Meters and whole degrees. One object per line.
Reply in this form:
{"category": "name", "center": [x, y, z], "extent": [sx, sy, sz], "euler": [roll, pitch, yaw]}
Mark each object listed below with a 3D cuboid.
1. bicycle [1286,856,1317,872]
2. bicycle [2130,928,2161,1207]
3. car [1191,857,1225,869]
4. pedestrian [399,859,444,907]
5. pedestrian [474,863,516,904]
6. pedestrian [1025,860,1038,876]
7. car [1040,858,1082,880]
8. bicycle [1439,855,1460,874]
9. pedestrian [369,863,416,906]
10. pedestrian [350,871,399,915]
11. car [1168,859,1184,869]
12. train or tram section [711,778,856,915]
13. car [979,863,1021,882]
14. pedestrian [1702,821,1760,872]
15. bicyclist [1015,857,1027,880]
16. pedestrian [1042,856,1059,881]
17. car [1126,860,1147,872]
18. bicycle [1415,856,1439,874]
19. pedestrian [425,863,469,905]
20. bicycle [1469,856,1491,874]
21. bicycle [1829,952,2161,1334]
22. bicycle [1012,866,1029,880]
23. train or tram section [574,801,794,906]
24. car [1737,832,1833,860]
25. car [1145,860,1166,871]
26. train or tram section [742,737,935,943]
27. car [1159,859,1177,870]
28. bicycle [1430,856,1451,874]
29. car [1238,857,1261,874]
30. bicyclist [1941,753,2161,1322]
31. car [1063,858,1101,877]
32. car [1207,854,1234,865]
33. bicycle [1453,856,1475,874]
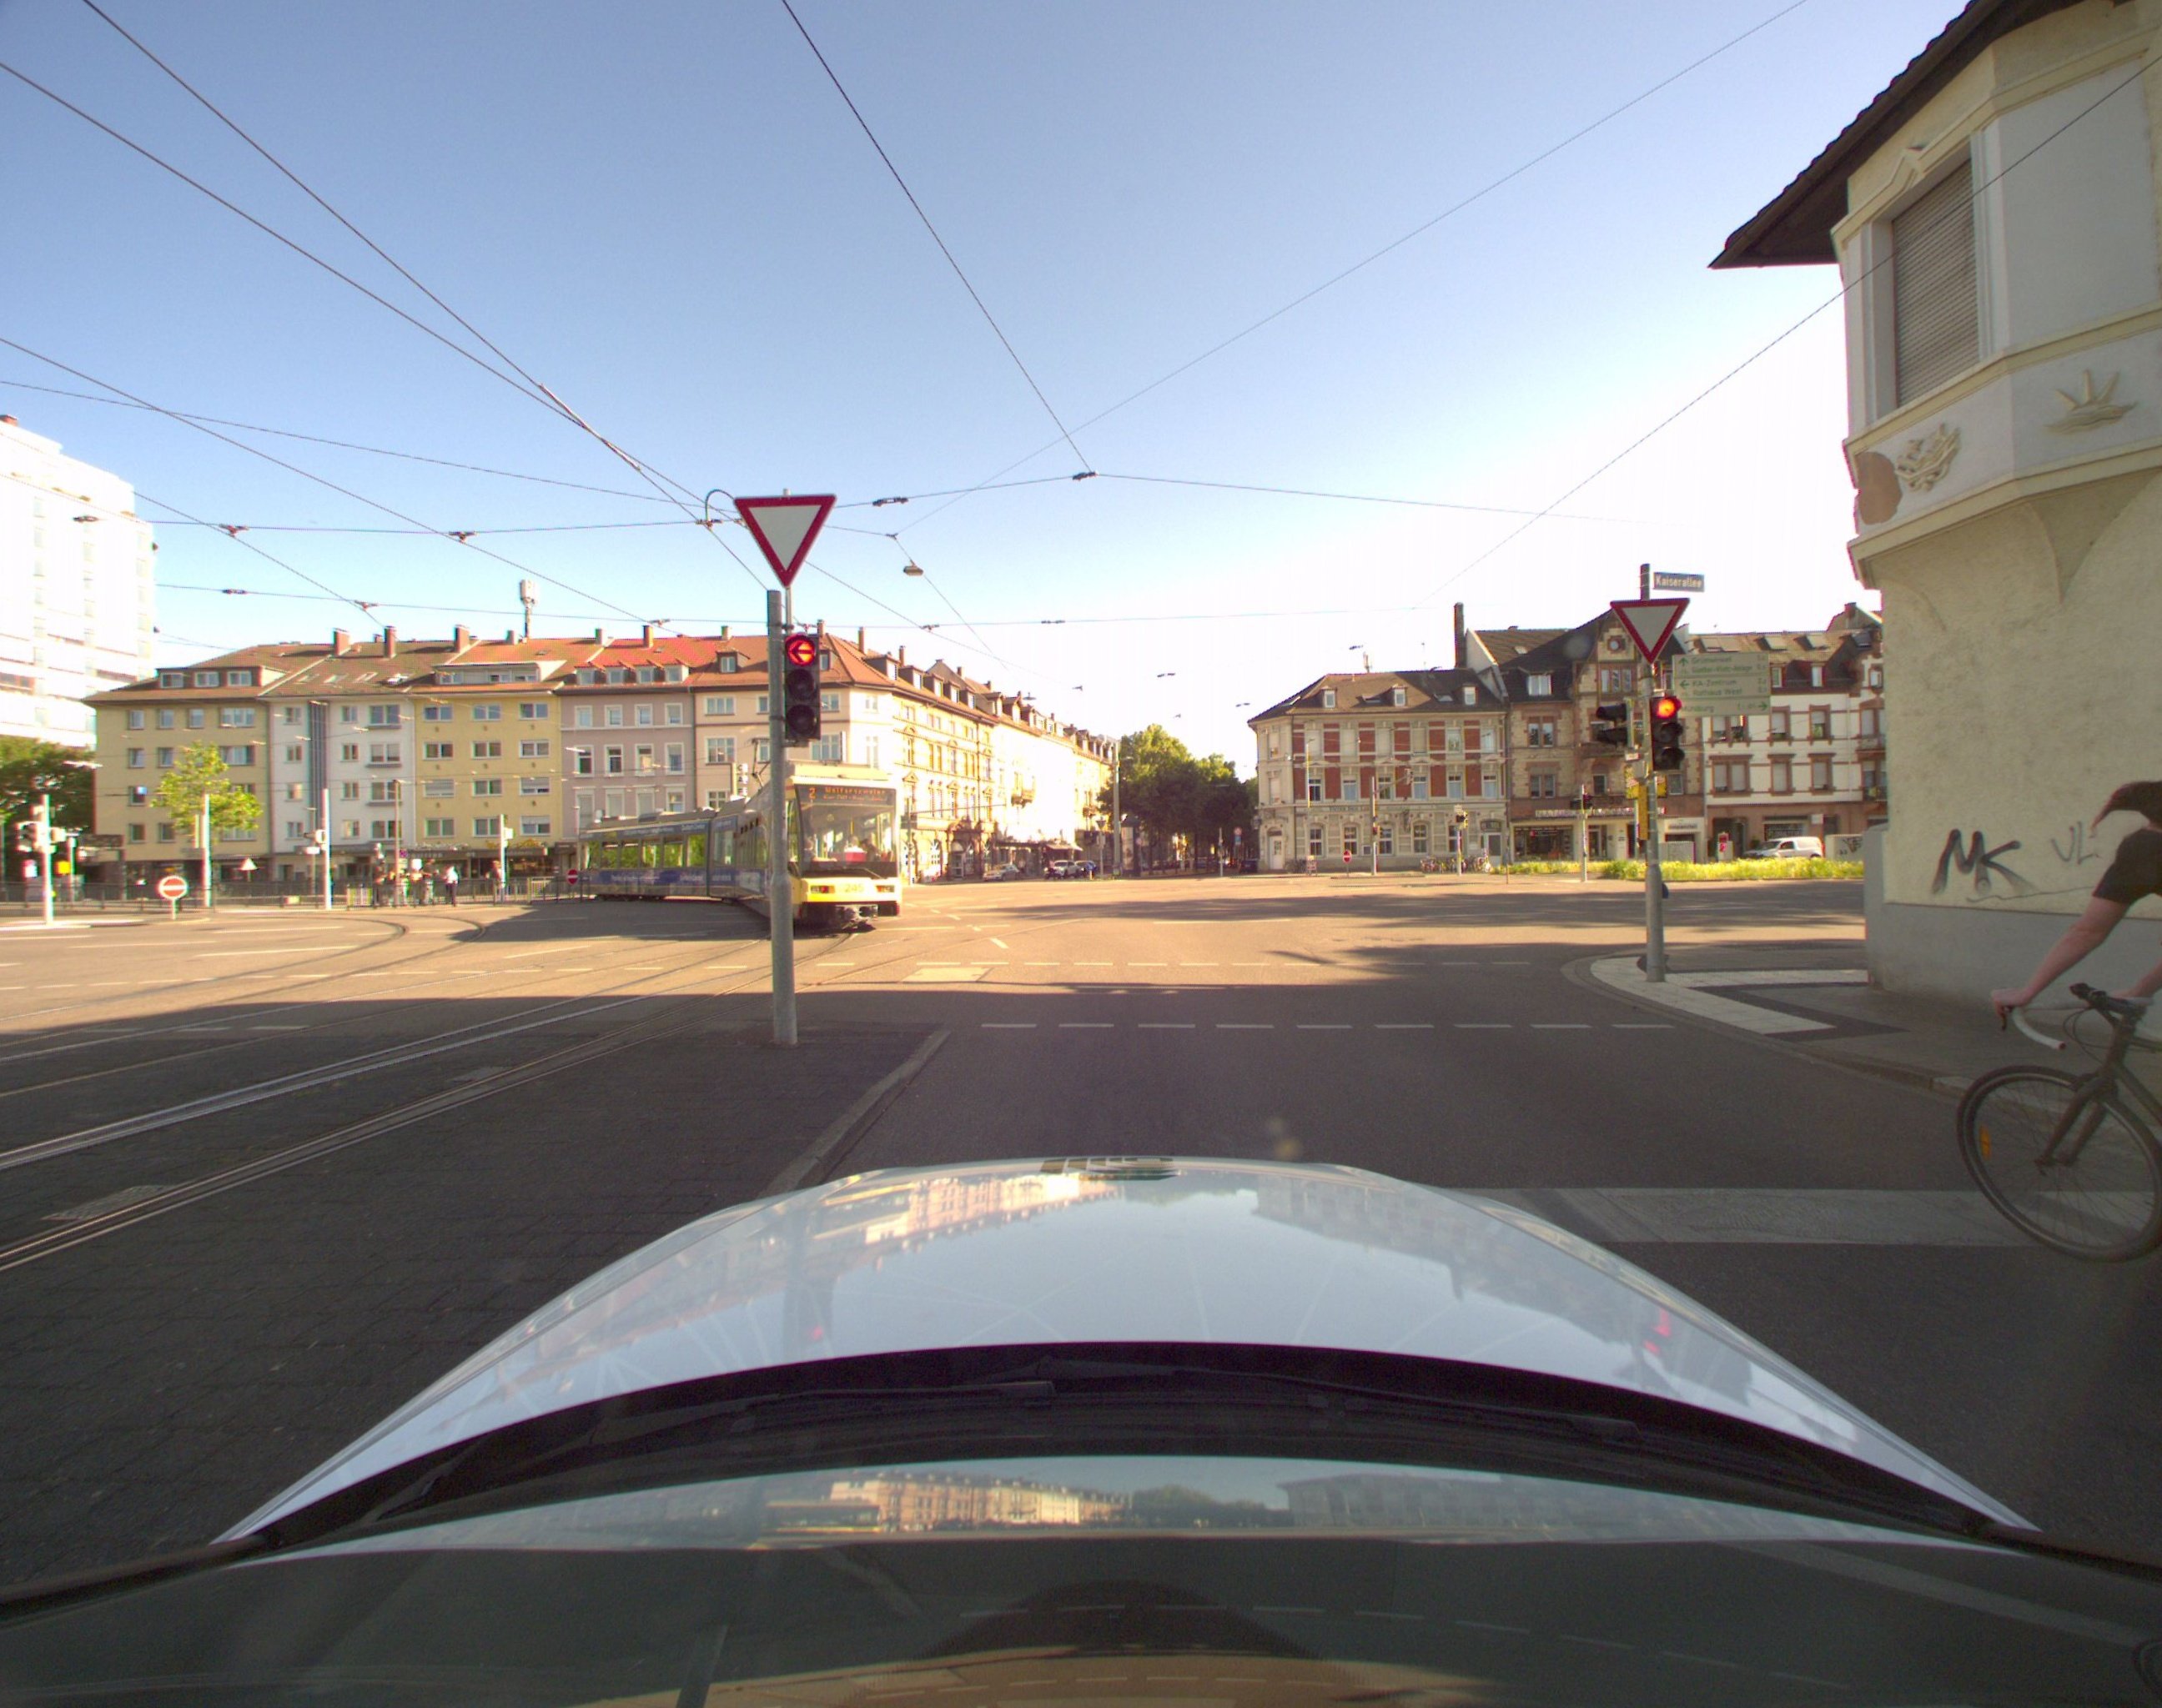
{"category": "bicycle", "center": [15.505, 0.723, 57.185], "extent": [2.081, 1.124, 0.366], "euler": [0, -1, -3]}
{"category": "bicycle", "center": [4.538, 0.859, 2.441], "extent": [0.516, 1.116, 1.815], "euler": [-2, 0, 4]}
{"category": "car", "center": [17.959, 1.310, 115.206], "extent": [4.335, 1.612, 2.012], "euler": [-2, 0, 28]}
{"category": "pedestrian", "center": [-25.246, 1.091, 31.208], "extent": [0.939, 1.775, 1.006], "euler": [-1, 0, -11]}
{"category": "pedestrian", "center": [-23.235, 1.168, 32.301], "extent": [0.997, 1.598, 0.947], "euler": [-2, 0, 23]}
{"category": "pedestrian", "center": [-5.012, 1.422, 82.195], "extent": [0.921, 1.535, 1.142], "euler": [-1, 0, 16]}
{"category": "car", "center": [-1.602, 1.252, 67.535], "extent": [1.977, 1.684, 4.413], "euler": [-2, 0, 20]}
{"category": "bicycle", "center": [23.863, 0.672, 52.780], "extent": [0.615, 1.143, 2.178], "euler": [-2, 0, 7]}
{"category": "pedestrian", "center": [-26.841, 1.185, 31.762], "extent": [0.935, 1.598, 1.009], "euler": [-2, 0, -1]}
{"category": "pedestrian", "center": [-26.771, 1.466, 30.880], "extent": [0.936, 1.598, 1.008], "euler": [-1, 0, -4]}
{"category": "car", "center": [15.838, 1.721, 136.163], "extent": [1.750, 1.549, 4.411], "euler": [-2, 0, 18]}
{"category": "train or tram section", "center": [-9.462, -0.169, 25.172], "extent": [2.832, 3.500, 8.381], "euler": [-1, 0, -29]}
{"category": "car", "center": [-6.677, 1.523, 67.377], "extent": [1.883, 1.455, 4.020], "euler": [-2, 0, 20]}
{"category": "pedestrian", "center": [27.118, -0.307, 33.995], "extent": [1.314, 2.044, 1.307], "euler": [-2, 0, 1]}
{"category": "bicyclist", "center": [-4.807, 1.133, 65.335], "extent": [0.674, 1.820, 1.075], "euler": [-2, 0, 14]}
{"category": "pedestrian", "center": [-2.173, 1.041, 58.026], "extent": [1.045, 1.744, 0.806], "euler": [-1, 0, -8]}
{"category": "car", "center": [7.540, 1.669, 110.977], "extent": [1.978, 1.486, 4.017], "euler": [-1, 0, 16]}
{"category": "bicycle", "center": [22.505, 0.701, 52.982], "extent": [0.802, 1.143, 2.178], "euler": [-2, 0, 7]}
{"category": "pedestrian", "center": [-25.299, 1.185, 32.512], "extent": [0.998, 1.598, 0.946], "euler": [-2, 0, 18]}
{"category": "bicycle", "center": [25.761, 0.689, 52.595], "extent": [0.606, 1.136, 2.139], "euler": [-2, 0, 7]}
{"category": "bicycle", "center": [3.618, 0.949, 2.666], "extent": [0.642, 1.010, 1.930], "euler": [-2, 0, 4]}
{"category": "bicycle", "center": [-4.811, 1.513, 65.292], "extent": [0.675, 1.066, 2.133], "euler": [-2, 0, 14]}
{"category": "train or tram section", "center": [-15.935, 0.076, 31.948], "extent": [11.874, 3.500, 2.797], "euler": [-1, 0, 38]}
{"category": "car", "center": [45.363, -0.482, 52.550], "extent": [4.317, 1.640, 2.152], "euler": [-2, 0, 1]}
{"category": "car", "center": [11.262, 1.732, 122.596], "extent": [1.977, 1.612, 4.413], "euler": [-2, 0, 20]}
{"category": "train or tram section", "center": [-5.729, -0.235, 18.070], "extent": [2.829, 3.500, 7.895], "euler": [-1, 0, -26]}
{"category": "car", "center": [13.920, 1.701, 130.328], "extent": [1.822, 1.552, 4.412], "euler": [-2, 0, 19]}
{"category": "bicycle", "center": [23.283, 0.692, 52.833], "extent": [0.615, 1.143, 2.178], "euler": [-2, 0, 7]}
{"category": "car", "center": [17.021, 1.141, 82.212], "extent": [1.978, 1.585, 4.017], "euler": [-2, 0, 16]}
{"category": "bicyclist", "center": [3.603, 0.562, 2.589], "extent": [0.559, 1.754, 1.102], "euler": [-2, 0, 4]}
{"category": "car", "center": [0.123, 1.219, 74.012], "extent": [1.977, 1.612, 4.413], "euler": [-2, 0, 20]}
{"category": "car", "center": [22.838, 0.970, 133.298], "extent": [3.948, 1.706, 2.013], "euler": [-2, 0, 32]}
{"category": "bicycle", "center": [24.783, 0.710, 52.685], "extent": [0.615, 1.143, 2.178], "euler": [-2, 0, 7]}
